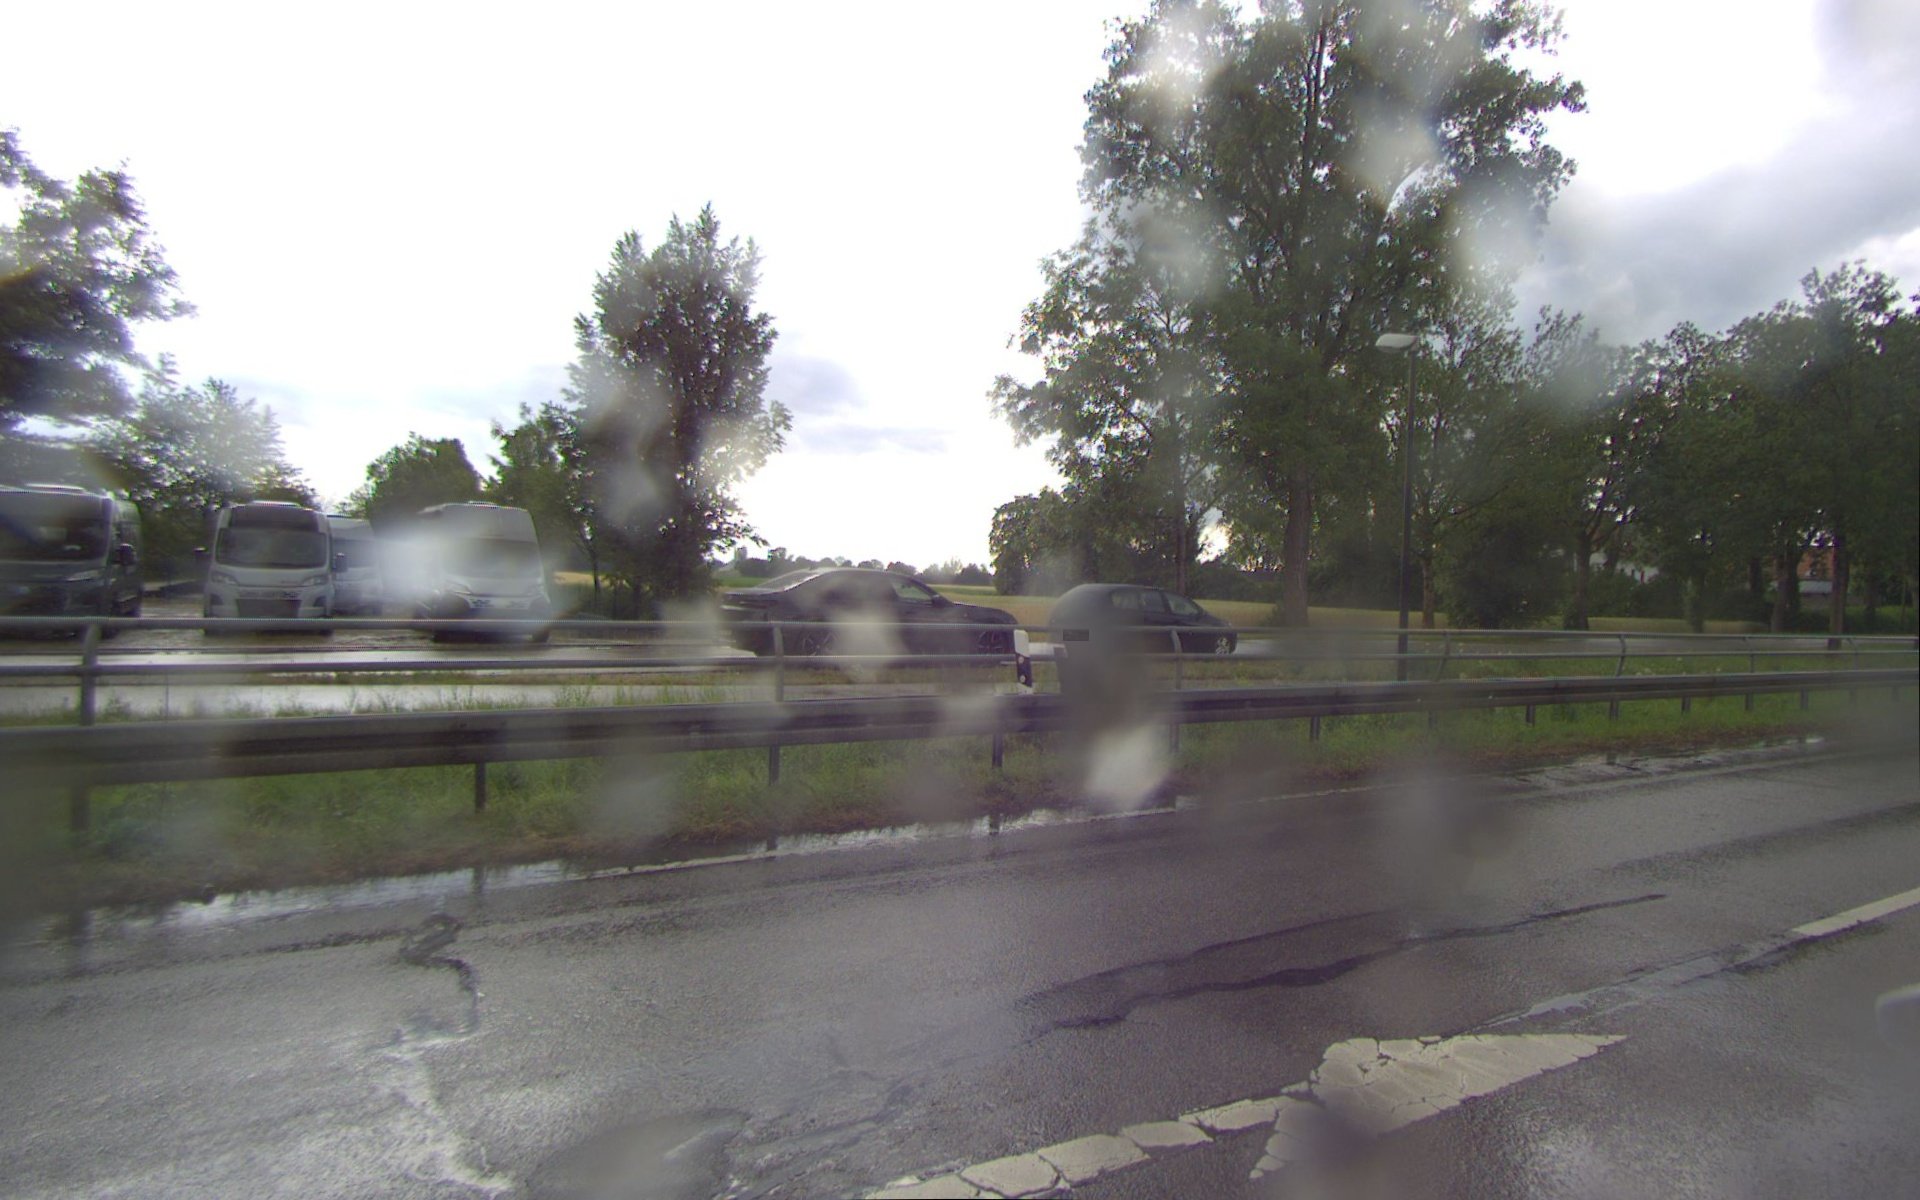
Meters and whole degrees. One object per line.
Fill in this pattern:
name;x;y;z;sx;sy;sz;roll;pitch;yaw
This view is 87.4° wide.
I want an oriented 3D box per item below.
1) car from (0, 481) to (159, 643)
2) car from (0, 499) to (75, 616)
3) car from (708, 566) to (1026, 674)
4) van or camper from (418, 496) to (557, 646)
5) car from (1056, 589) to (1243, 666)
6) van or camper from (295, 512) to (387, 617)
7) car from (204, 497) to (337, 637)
car;-16.091;-0.685;18.091;1.978;2.535;5.153;1;2;-32
car;-23.423;-1.058;24.075;2.066;2.573;6.063;1;1;-30
car;-1.379;0.308;16.341;5.071;1.511;1.505;1;2;-35
van or camper;-10.088;-0.612;21.169;2.057;2.713;5.844;1;2;-31
car;3.819;0.526;20.006;3.858;1.349;1.274;1;2;-35
van or camper;-17.315;-0.995;28.232;1.977;2.625;5.774;1;2;-31
car;-13.944;-0.670;20.558;1.978;2.492;5.063;1;2;-32
